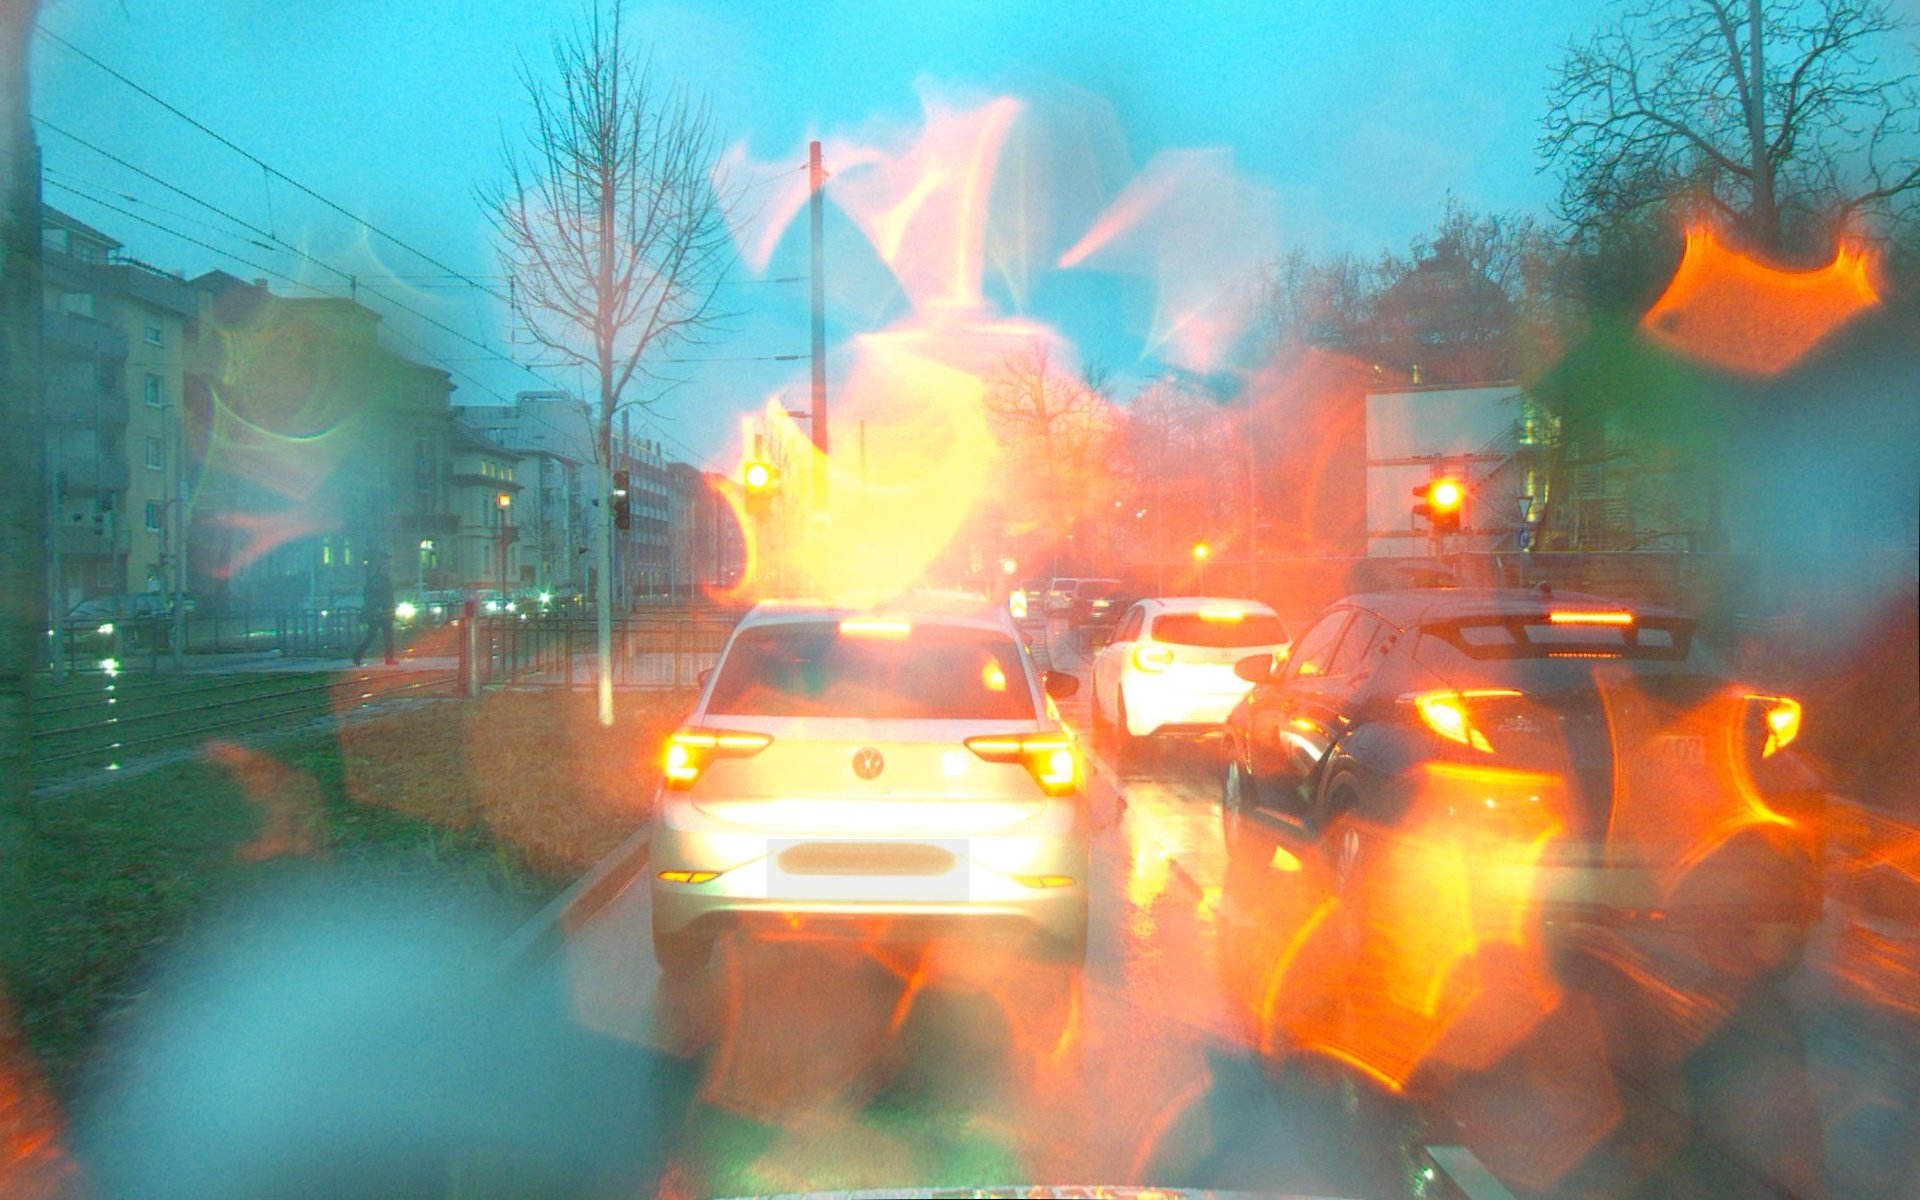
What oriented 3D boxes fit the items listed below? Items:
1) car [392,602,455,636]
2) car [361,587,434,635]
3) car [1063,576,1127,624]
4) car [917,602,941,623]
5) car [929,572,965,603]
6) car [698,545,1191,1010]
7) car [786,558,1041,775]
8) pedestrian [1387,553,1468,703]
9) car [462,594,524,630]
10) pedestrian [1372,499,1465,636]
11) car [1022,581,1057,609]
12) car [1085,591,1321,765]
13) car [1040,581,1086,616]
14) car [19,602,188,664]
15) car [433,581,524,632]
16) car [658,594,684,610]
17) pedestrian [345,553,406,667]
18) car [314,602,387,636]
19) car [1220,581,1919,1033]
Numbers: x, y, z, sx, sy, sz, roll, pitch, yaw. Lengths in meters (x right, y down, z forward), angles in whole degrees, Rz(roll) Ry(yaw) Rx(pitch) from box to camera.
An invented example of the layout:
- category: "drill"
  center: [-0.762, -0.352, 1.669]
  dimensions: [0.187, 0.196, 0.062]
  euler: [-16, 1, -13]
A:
- category: "car"
  center: [-22.087, 0.748, 68.224]
  dimensions: [1.658, 1.300, 4.142]
  euler: [-1, 0, -7]
- category: "car"
  center: [-25.397, 0.486, 74.809]
  dimensions: [1.953, 2.049, 3.999]
  euler: [1, 0, -1]
- category: "car"
  center: [4.306, -0.025, 53.249]
  dimensions: [1.702, 1.444, 3.703]
  euler: [-1, 1, -1]
- category: "car"
  center: [-2.293, 0.887, 122.387]
  dimensions: [1.702, 1.444, 3.803]
  euler: [-1, 1, -1]
- category: "car"
  center: [-0.643, -0.603, 80.436]
  dimensions: [1.702, 1.444, 4.393]
  euler: [-1, 1, -1]
- category: "car"
  center: [-0.155, 0.579, 7.595]
  dimensions: [1.659, 1.560, 3.998]
  euler: [1, 1, -3]
- category: "car"
  center: [-0.345, 0.434, 13.893]
  dimensions: [1.762, 1.492, 4.585]
  euler: [-1, 1, -1]
- category: "pedestrian"
  center: [6.564, 0.385, 23.267]
  dimensions: [0.938, 2.049, 1.008]
  euler: [-1, 0, 7]
- category: "car"
  center: [-21.805, 0.557, 77.359]
  dimensions: [1.829, 1.604, 3.999]
  euler: [-1, 0, -1]
- category: "pedestrian"
  center: [7.041, -0.492, 25.411]
  dimensions: [0.946, 2.049, 1.000]
  euler: [-1, 0, -23]
- category: "car"
  center: [4.349, -0.299, 90.962]
  dimensions: [1.702, 1.444, 4.145]
  euler: [-1, 1, -1]
- category: "car"
  center: [2.238, 0.668, 16.131]
  dimensions: [1.710, 1.458, 3.731]
  euler: [1, 0, 0]
- category: "car"
  center: [4.418, -0.093, 71.346]
  dimensions: [1.702, 1.444, 3.703]
  euler: [-1, 1, -1]
- category: "car"
  center: [-20.405, 0.744, 39.630]
  dimensions: [1.821, 1.355, 4.315]
  euler: [1, 0, -1]
- category: "car"
  center: [-16.139, 0.210, 55.628]
  dimensions: [1.953, 1.630, 3.999]
  euler: [1, 0, -2]
- category: "car"
  center: [-29.200, 0.195, 167.319]
  dimensions: [1.910, 1.630, 4.000]
  euler: [1, 0, 0]
- category: "pedestrian"
  center: [-10.714, 0.168, 30.313]
  dimensions: [0.991, 2.049, 0.955]
  euler: [-1, 0, -23]
- category: "car"
  center: [-24.663, 0.734, 67.011]
  dimensions: [1.656, 1.300, 3.536]
  euler: [-1, 0, 0]
- category: "car"
  center: [2.410, 0.698, 7.646]
  dimensions: [1.763, 1.537, 3.895]
  euler: [-1, 0, -1]
